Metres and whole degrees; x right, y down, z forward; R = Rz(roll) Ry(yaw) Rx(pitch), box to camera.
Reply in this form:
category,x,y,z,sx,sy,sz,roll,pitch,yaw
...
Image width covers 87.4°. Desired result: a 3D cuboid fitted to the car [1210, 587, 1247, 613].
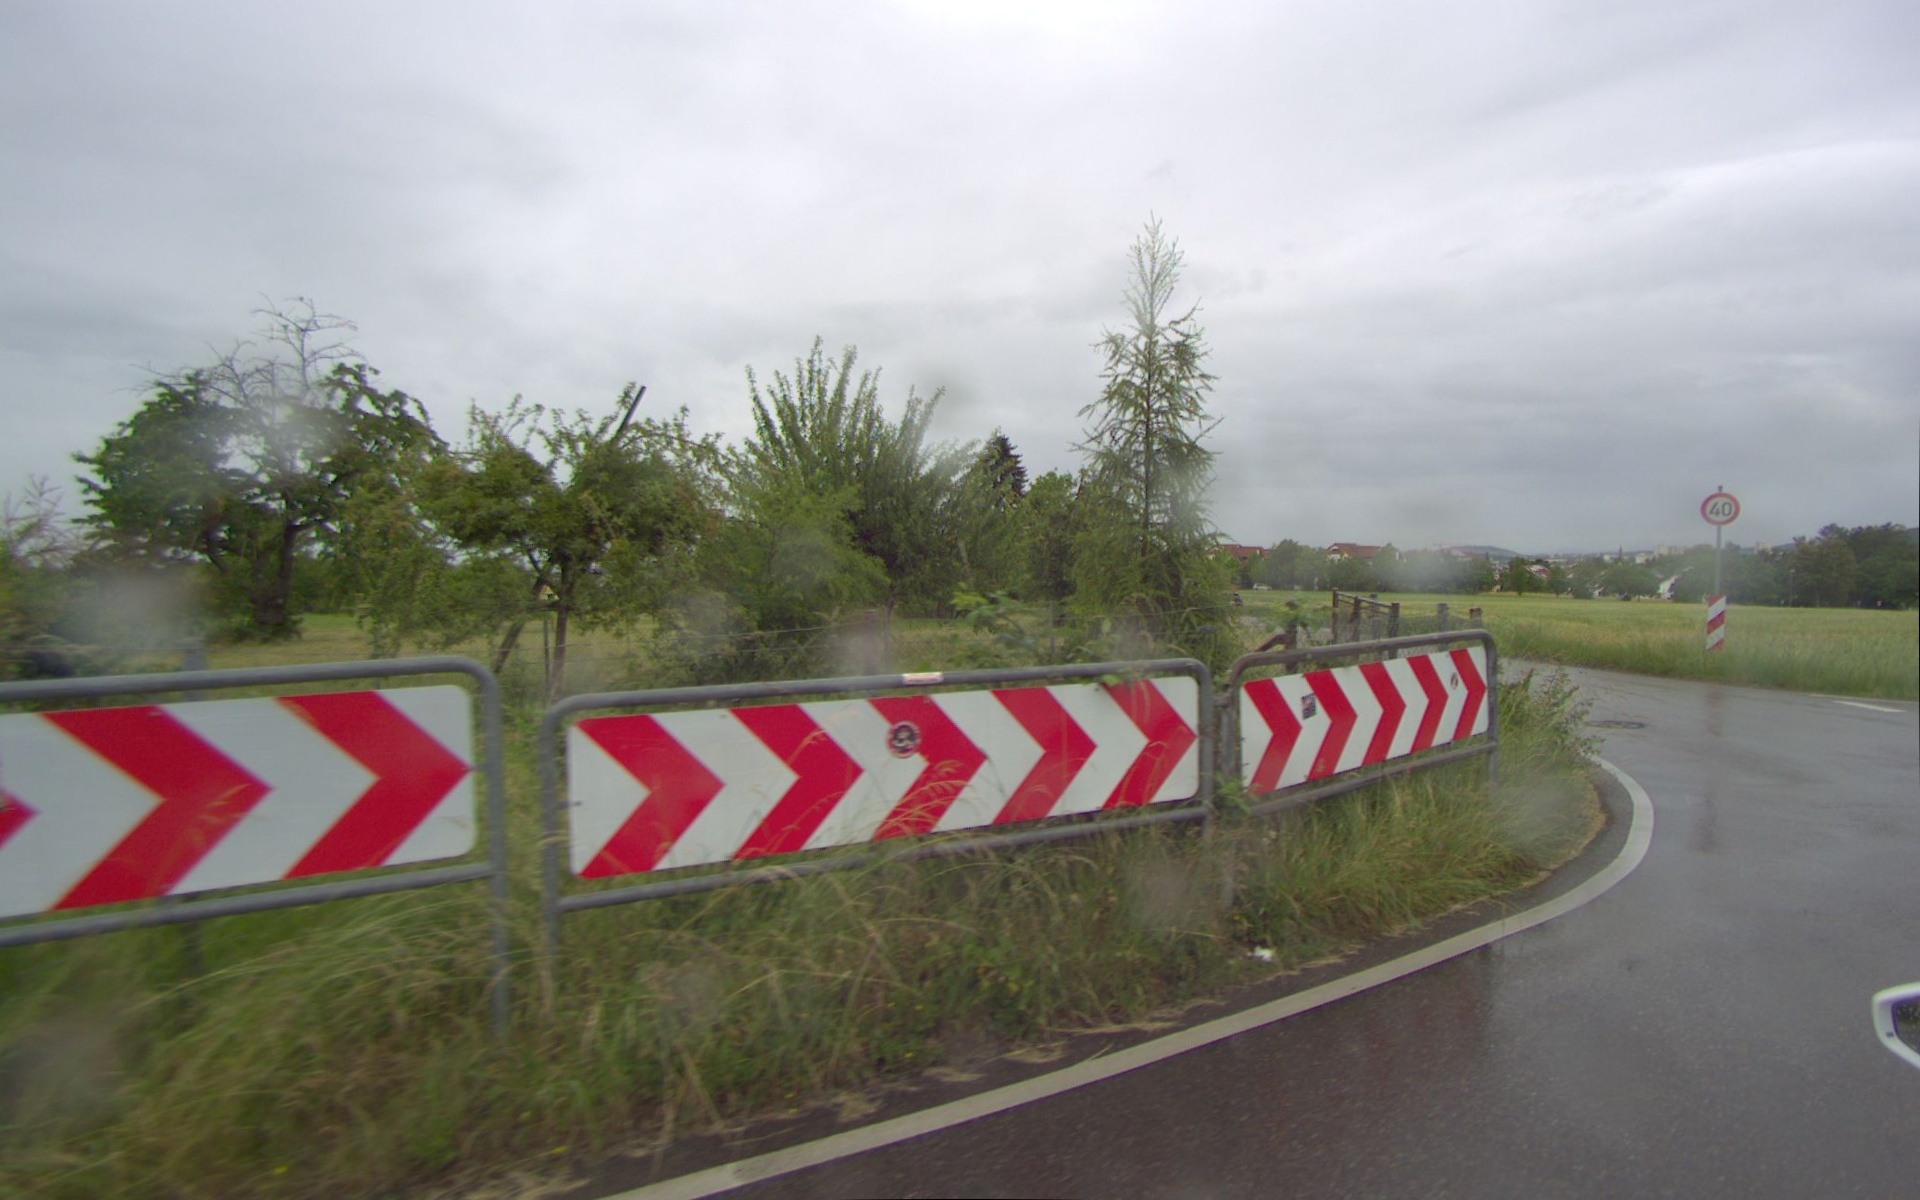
category,x,y,z,sx,sy,sz,roll,pitch,yaw
car,16.792,0.008,63.030,1.783,1.615,4.002,0,0,8
